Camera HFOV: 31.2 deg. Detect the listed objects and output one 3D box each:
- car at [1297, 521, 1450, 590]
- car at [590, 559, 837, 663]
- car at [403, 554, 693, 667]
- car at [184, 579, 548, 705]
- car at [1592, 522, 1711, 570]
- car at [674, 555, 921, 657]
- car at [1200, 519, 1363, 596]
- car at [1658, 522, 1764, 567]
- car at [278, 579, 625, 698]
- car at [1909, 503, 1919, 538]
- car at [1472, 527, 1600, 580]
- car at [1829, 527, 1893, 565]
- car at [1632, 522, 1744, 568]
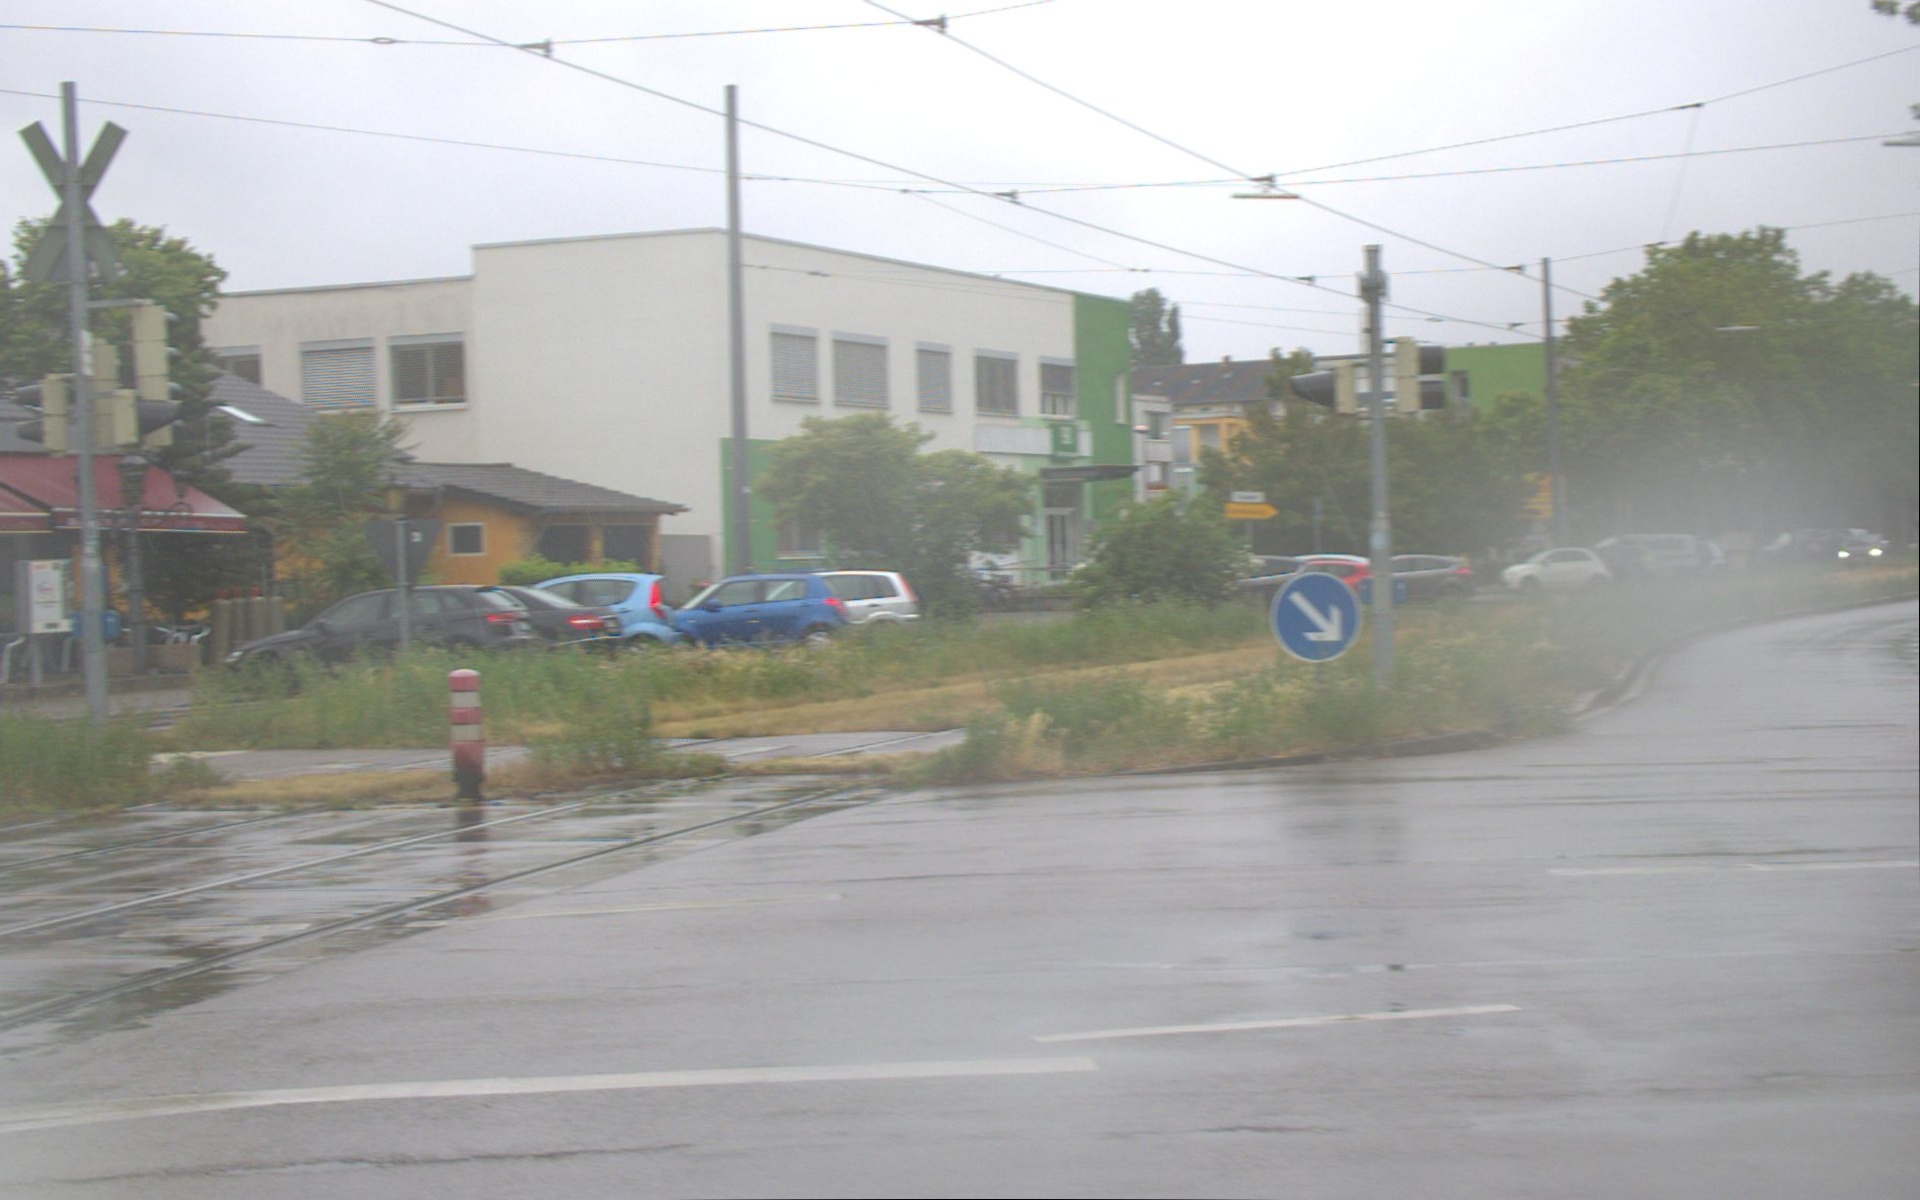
[{"bbox_3d":[11.544,-1.246,96.146,3.987,1.881,2.000,-1,1,-1],"label":"car"},{"bbox_3d":[-4.129,0.176,57.259,3.986,1.576,1.930,-2,1,-6],"label":"car"},{"bbox_3d":[-6.258,0.152,52.426,3.988,1.576,1.858,-2,1,10],"label":"car"},{"bbox_3d":[-8.049,0.562,46.793,4.478,1.413,1.858,-3,0,7],"label":"car"},{"bbox_3d":[26.067,-2.023,129.680,3.986,1.752,2.010,-1,1,-6],"label":"car"},{"bbox_3d":[-2.873,0.091,60.349,4.107,1.635,1.930,-2,1,-9],"label":"car"},{"bbox_3d":[8.015,-1.060,85.557,3.988,1.857,2.000,0,1,6],"label":"car"},{"bbox_3d":[31.301,-2.299,143.420,3.987,1.826,2.000,-1,1,1],"label":"car"},{"bbox_3d":[-7.202,0.531,48.896,4.498,1.413,1.858,-3,0,7],"label":"car"},{"bbox_3d":[52.330,-4.229,181.364,3.987,1.826,2.000,-1,1,1],"label":"car"},{"bbox_3d":[18.791,-1.515,112.290,3.774,1.697,1.837,-1,1,-4],"label":"car"},{"bbox_3d":[40.445,-2.440,154.265,1.893,1.656,3.994,0,1,28],"label":"car"},{"bbox_3d":[29.314,-2.212,138.517,3.986,1.826,2.000,-1,1,-6],"label":"car"}]
